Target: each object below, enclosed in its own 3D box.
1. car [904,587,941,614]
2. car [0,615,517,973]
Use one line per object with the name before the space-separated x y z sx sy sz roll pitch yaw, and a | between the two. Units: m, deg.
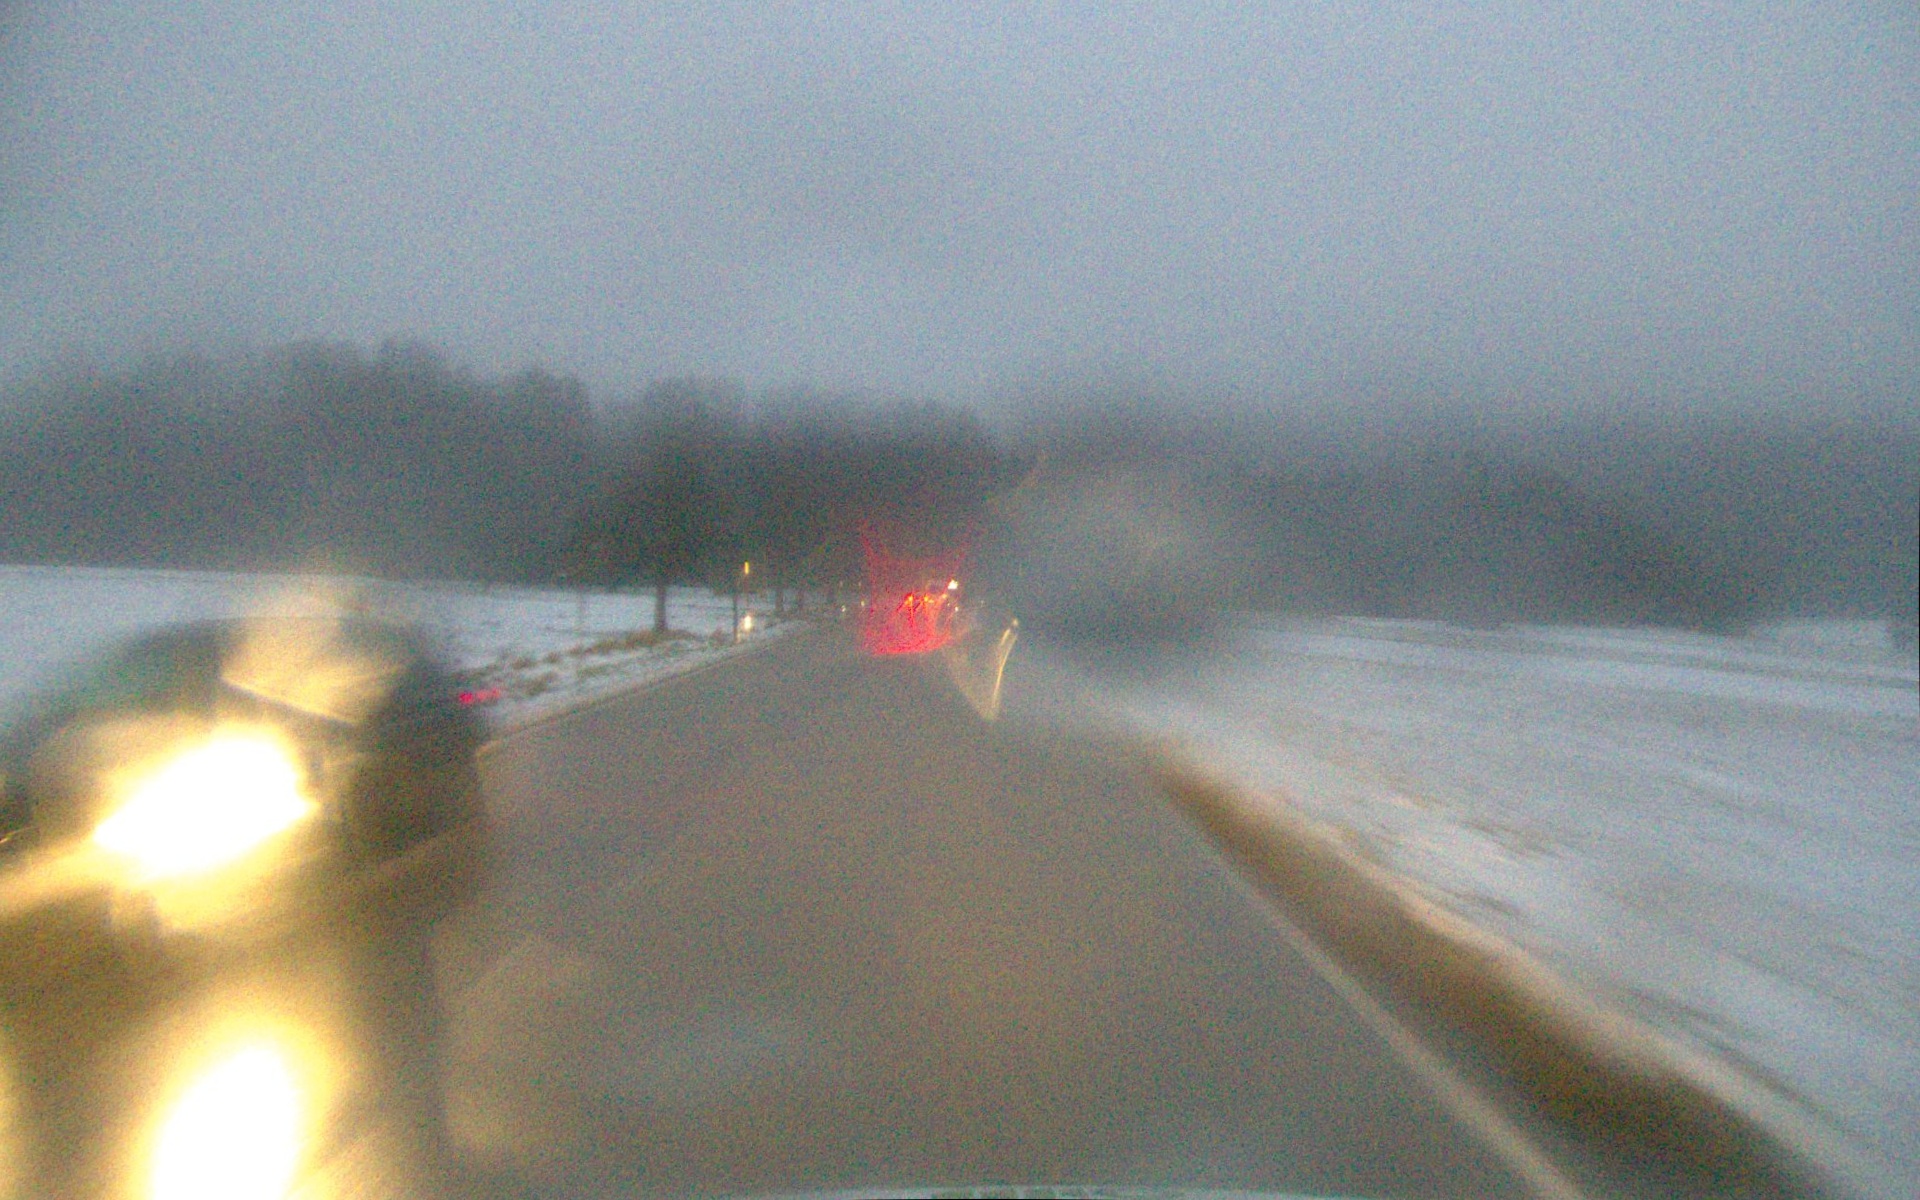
car | -3.091 0.044 137.506 1.951 2.087 4.003 2 0 15
car | -3.722 0.797 8.689 1.692 1.370 4.221 -1 0 -1
